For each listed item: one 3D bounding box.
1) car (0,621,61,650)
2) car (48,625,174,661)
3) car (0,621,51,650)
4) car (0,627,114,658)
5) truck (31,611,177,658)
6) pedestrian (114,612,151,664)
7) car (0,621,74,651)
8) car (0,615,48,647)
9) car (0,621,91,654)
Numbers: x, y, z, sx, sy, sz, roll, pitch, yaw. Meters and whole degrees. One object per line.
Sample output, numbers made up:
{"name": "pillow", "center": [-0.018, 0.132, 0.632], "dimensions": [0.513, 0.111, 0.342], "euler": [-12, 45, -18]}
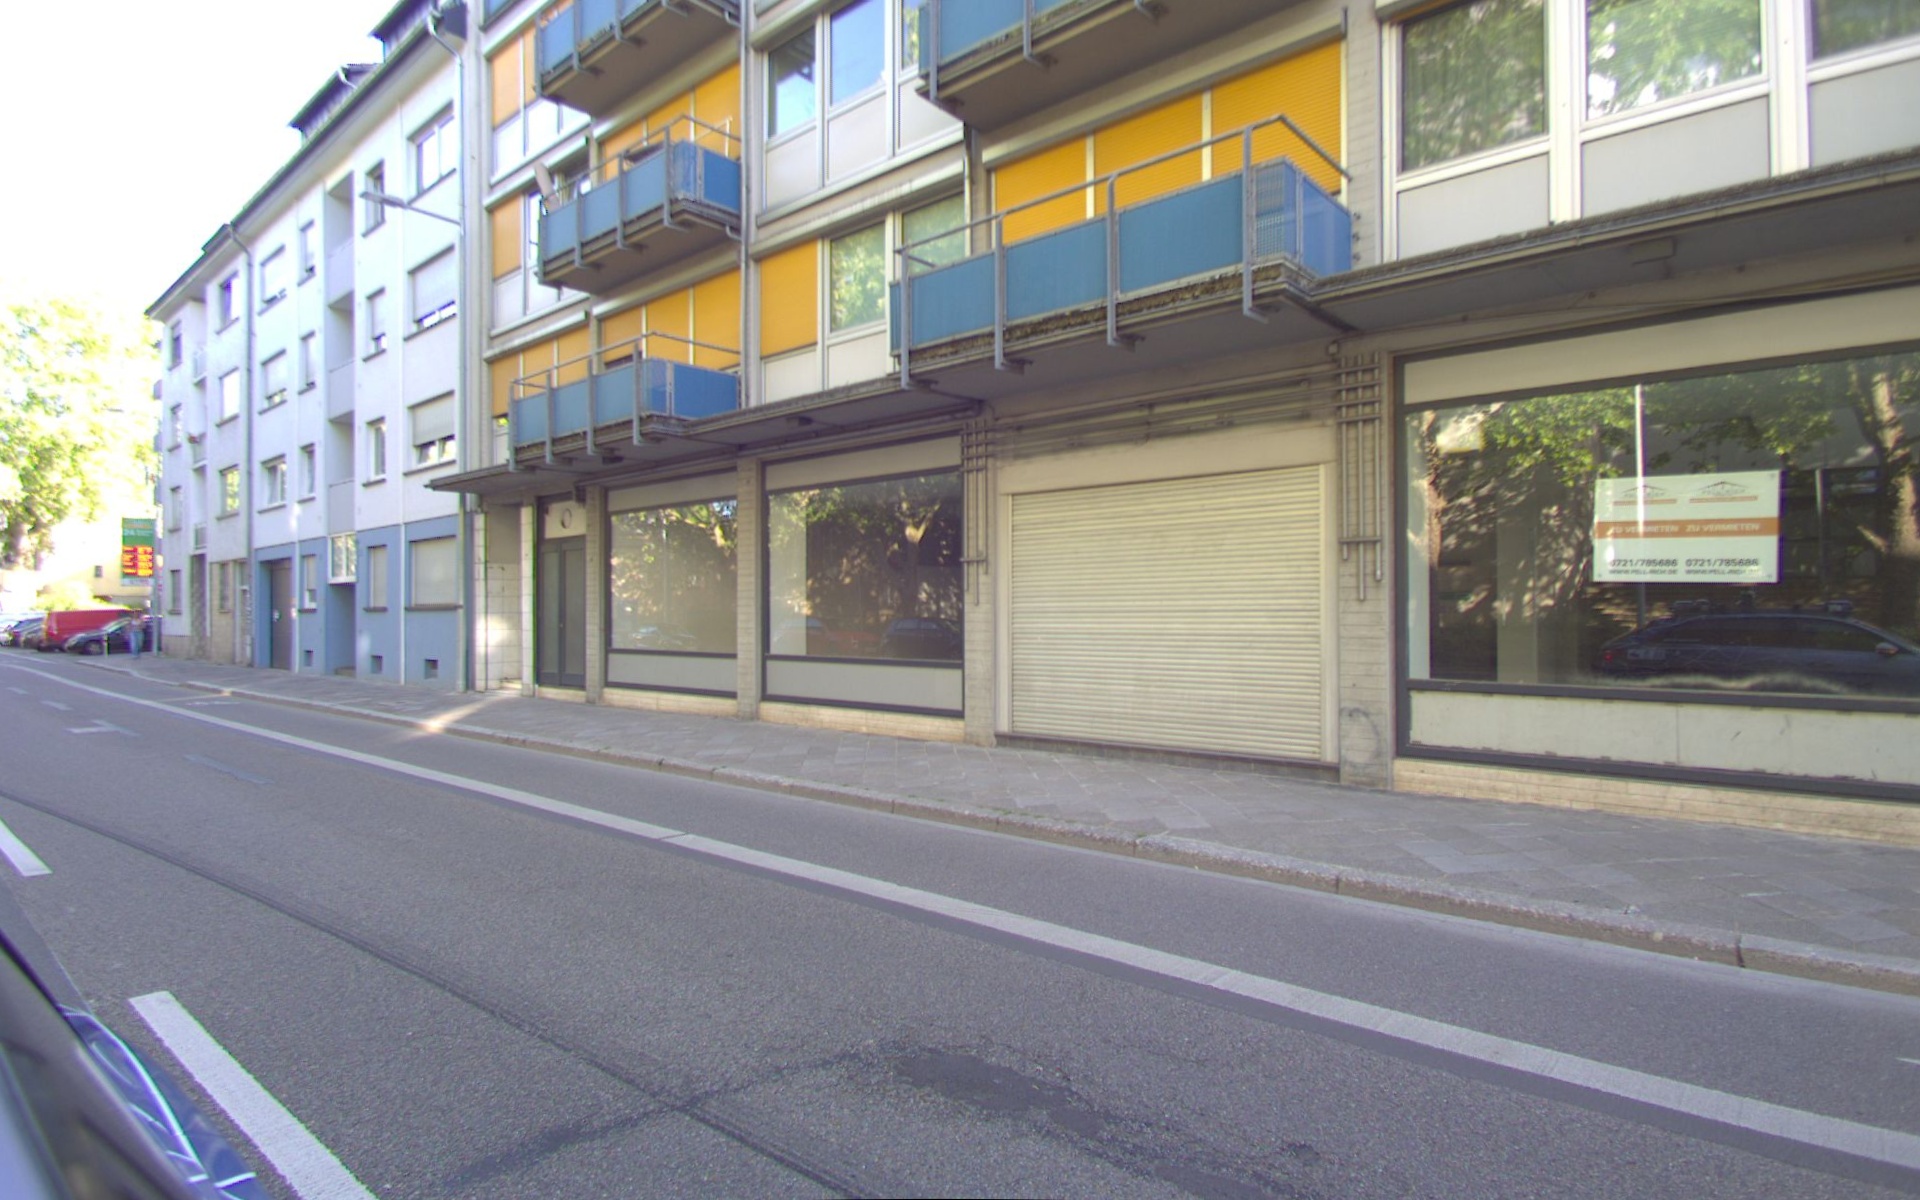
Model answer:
{"name": "car", "center": [-55.062, 2.081, 58.988], "dimensions": [1.715, 1.594, 3.660], "euler": [-1, 0, 35]}
{"name": "car", "center": [-36.766, 1.826, 43.886], "dimensions": [1.780, 1.404, 3.947], "euler": [-1, 0, 39]}
{"name": "car", "center": [-56.882, 2.121, 60.381], "dimensions": [1.740, 1.600, 3.685], "euler": [-1, 0, 35]}
{"name": "car", "center": [-43.309, 1.985, 48.502], "dimensions": [1.904, 1.282, 3.983], "euler": [-1, 0, 39]}
{"name": "truck", "center": [-40.344, 1.582, 47.824], "dimensions": [1.998, 2.036, 5.024], "euler": [-1, 0, 40]}
{"name": "pedestrian", "center": [-29.182, 1.318, 35.690], "dimensions": [0.741, 1.785, 0.884], "euler": [-1, 0, 41]}
{"name": "car", "center": [-52.877, 2.036, 57.459], "dimensions": [1.656, 1.599, 3.615], "euler": [-1, 0, 35]}
{"name": "car", "center": [-59.753, 1.967, 63.822], "dimensions": [1.693, 1.953, 3.224], "euler": [-1, 0, 43]}
{"name": "car", "center": [-50.816, 2.056, 55.955], "dimensions": [1.699, 1.640, 3.952], "euler": [-1, 0, 35]}
